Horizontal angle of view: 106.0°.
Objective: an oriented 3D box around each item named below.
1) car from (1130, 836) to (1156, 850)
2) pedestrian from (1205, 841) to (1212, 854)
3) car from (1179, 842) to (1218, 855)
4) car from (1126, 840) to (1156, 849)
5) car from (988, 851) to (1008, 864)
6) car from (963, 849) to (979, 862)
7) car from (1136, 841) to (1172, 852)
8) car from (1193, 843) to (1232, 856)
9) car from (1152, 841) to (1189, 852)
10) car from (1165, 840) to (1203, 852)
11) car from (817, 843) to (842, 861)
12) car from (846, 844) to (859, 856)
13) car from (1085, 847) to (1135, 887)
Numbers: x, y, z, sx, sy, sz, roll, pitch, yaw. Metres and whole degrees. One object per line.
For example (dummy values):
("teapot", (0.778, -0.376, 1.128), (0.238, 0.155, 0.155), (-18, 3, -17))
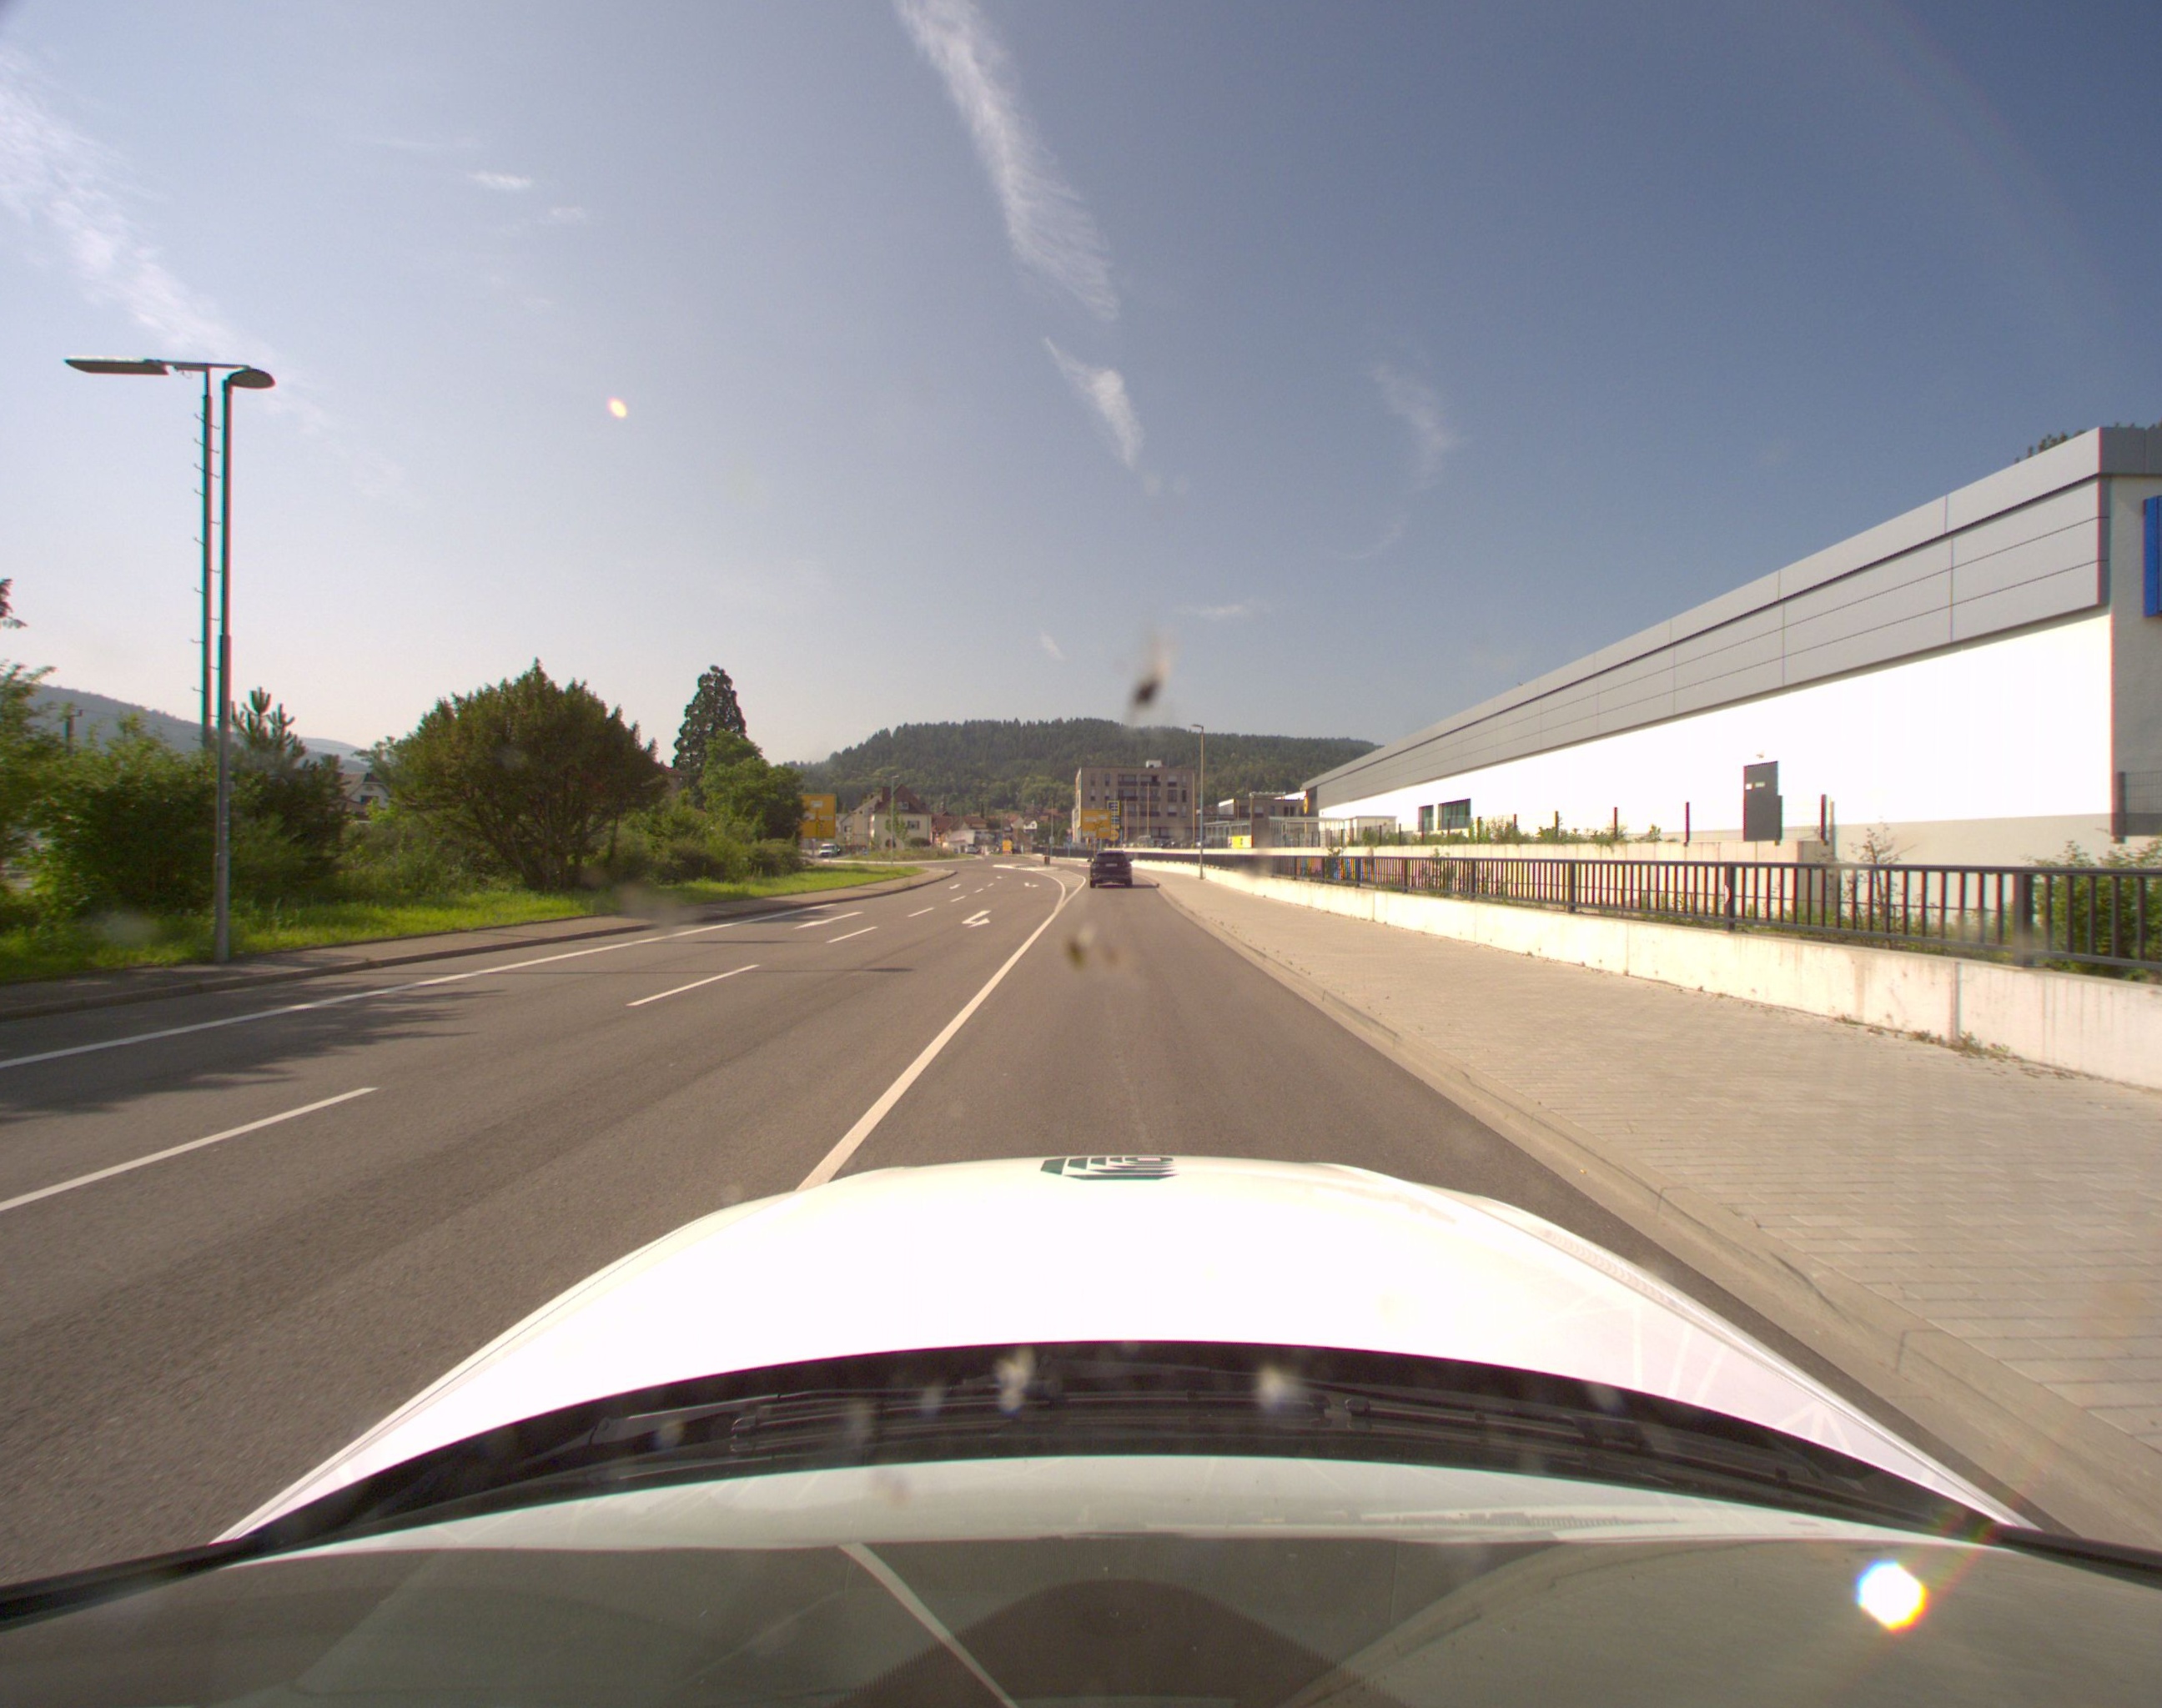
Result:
("car", (9.515, -1.701, 124.762), (3.968, 2.136, 2.003), (0, 0, 4))
("pedestrian", (13.571, -0.693, 86.715), (0.548, 1.312, 0.653), (0, -1, -14))
("car", (13.191, -0.648, 91.204), (4.071, 1.404, 1.477), (1, 0, -17))
("car", (8.013, -1.238, 109.099), (3.563, 1.199, 1.705), (1, 0, -17))
("car", (-13.330, 0.523, 130.799), (1.979, 2.014, 4.015), (0, 0, 14))
("car", (-16.337, 0.240, 121.074), (1.990, 2.014, 3.994), (0, 0, -4))
("car", (9.264, -0.942, 103.342), (4.289, 1.245, 1.655), (1, 0, -17))
("car", (14.249, -0.531, 88.238), (3.814, 1.364, 1.671), (1, 0, -17))
("car", (10.851, -0.953, 98.756), (4.223, 1.245, 1.734), (1, 0, -17))
("car", (12.016, -0.927, 94.803), (4.015, 1.404, 1.715), (1, 0, -17))
("car", (-33.468, -0.261, 108.479), (1.799, 2.077, 4.607), (2, 3, 1))
("car", (-39.343, -0.693, 140.226), (1.815, 2.013, 3.975), (0, 1, -19))
("car", (1.239, 0.577, 36.692), (1.877, 1.684, 3.994), (0, 0, -4))
